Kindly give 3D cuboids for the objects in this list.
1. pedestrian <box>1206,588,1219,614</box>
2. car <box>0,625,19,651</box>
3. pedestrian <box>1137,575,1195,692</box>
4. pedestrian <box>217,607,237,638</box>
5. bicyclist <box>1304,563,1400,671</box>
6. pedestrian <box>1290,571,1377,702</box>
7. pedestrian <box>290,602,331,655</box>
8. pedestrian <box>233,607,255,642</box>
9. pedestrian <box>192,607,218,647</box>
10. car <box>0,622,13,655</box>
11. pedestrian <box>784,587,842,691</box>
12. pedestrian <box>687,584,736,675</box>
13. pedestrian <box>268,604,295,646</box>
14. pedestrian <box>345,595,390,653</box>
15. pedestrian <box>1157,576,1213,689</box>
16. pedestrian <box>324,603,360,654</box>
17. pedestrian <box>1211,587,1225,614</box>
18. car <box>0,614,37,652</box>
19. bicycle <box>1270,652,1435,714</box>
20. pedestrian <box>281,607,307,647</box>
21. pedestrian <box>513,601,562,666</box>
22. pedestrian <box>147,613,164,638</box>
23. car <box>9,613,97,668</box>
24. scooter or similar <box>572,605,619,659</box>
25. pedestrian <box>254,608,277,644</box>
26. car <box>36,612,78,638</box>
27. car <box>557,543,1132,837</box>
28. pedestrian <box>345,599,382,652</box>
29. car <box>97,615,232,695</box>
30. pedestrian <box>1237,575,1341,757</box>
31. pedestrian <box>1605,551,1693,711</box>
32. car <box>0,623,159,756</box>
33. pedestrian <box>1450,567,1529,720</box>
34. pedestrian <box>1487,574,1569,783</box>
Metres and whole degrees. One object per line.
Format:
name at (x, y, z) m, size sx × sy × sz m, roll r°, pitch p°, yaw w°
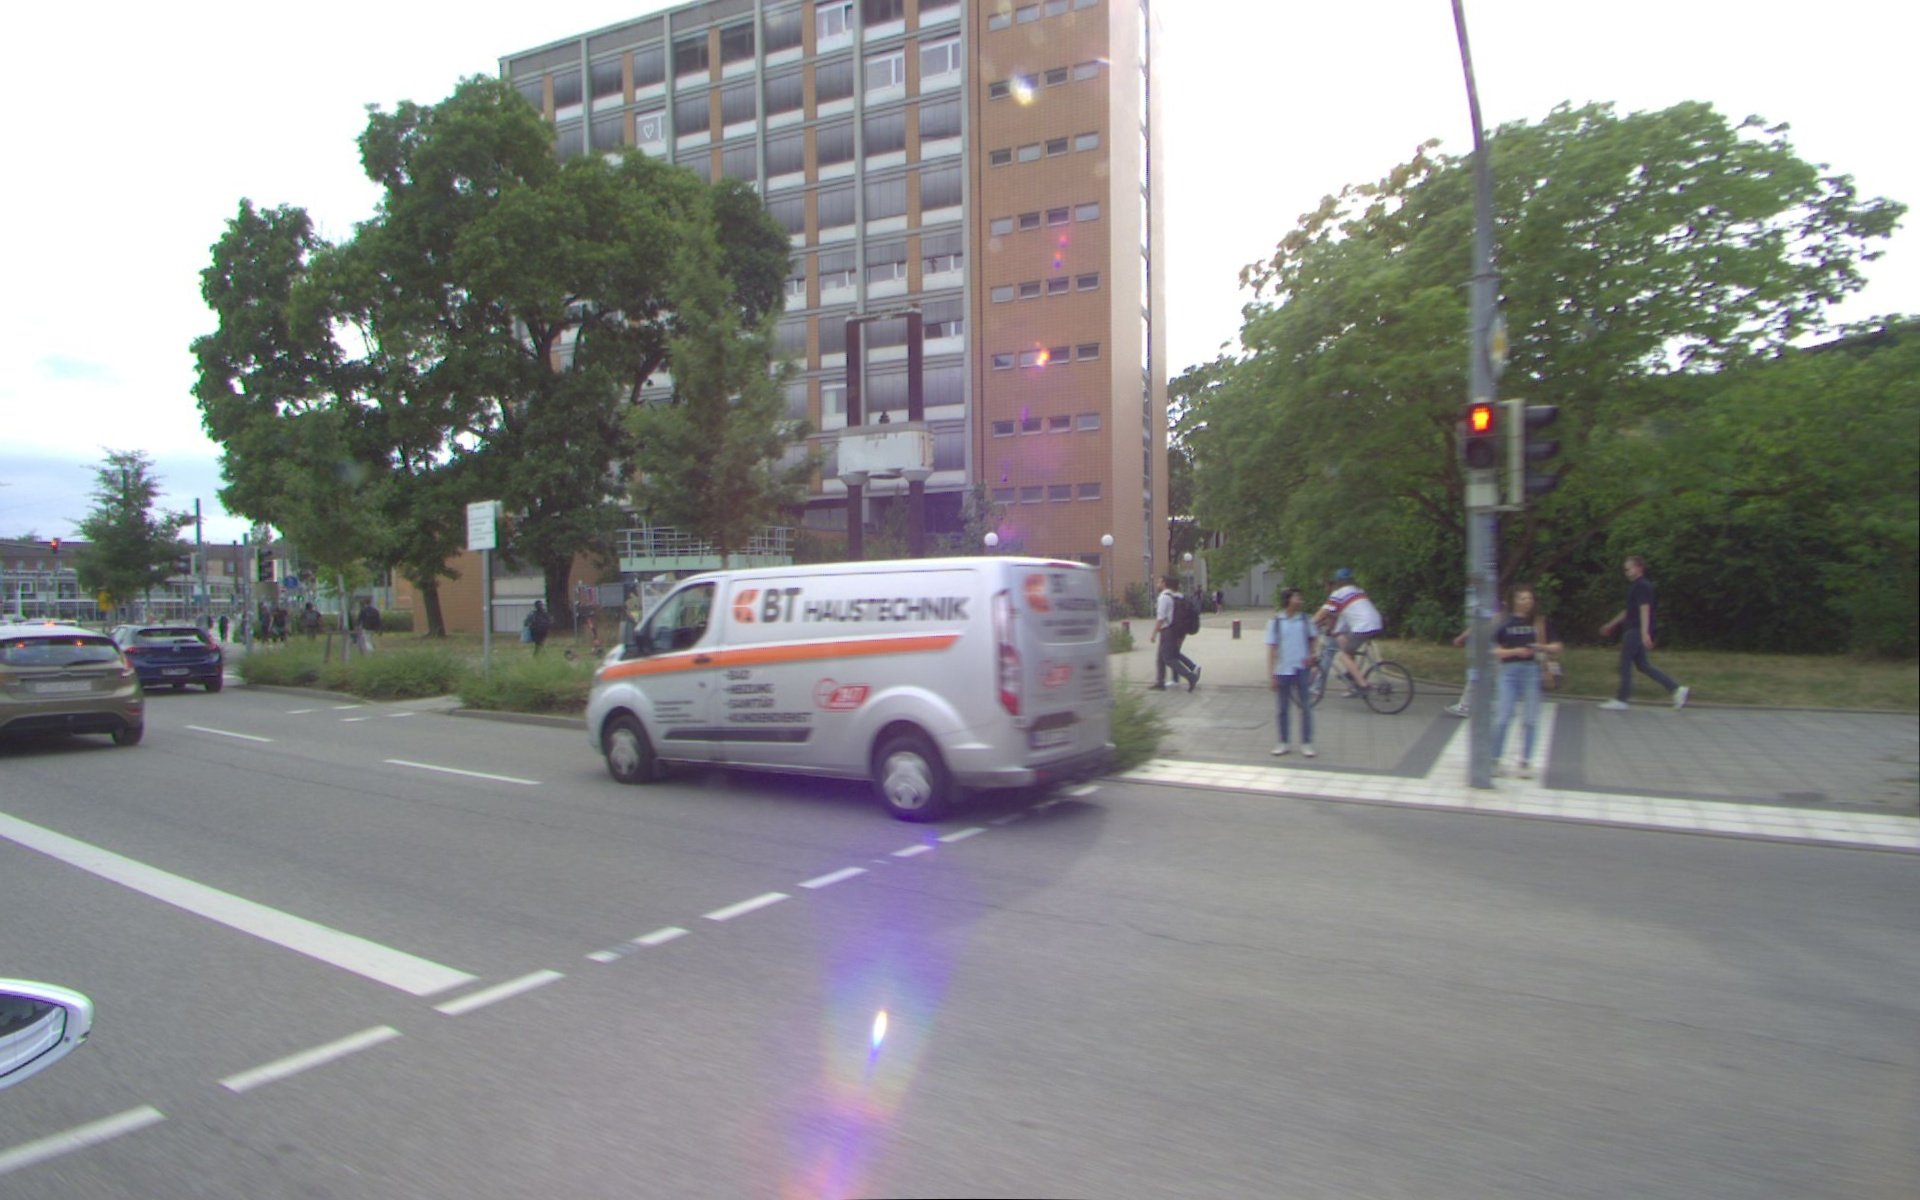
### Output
pedestrian at (16.644, 0.079, 66.072) m, size 0.631 × 1.733 × 0.703 m, roll -1°, pitch 0°, yaw 36°
car at (-54.141, 2.136, 56.323) m, size 1.699 × 1.438 × 3.964 m, roll 1°, pitch -2°, yaw -42°
pedestrian at (3.138, 0.511, 15.263) m, size 0.698 × 1.733 × 0.637 m, roll -1°, pitch -1°, yaw 31°
pedestrian at (-38.117, 1.176, 52.102) m, size 0.770 × 1.595 × 0.806 m, roll -3°, pitch 2°, yaw -36°
bicyclist at (4.922, 0.225, 12.556) m, size 0.998 × 1.293 × 0.836 m, roll -1°, pitch -1°, yaw 31°
pedestrian at (5.180, 0.506, 13.890) m, size 0.998 × 1.733 × 0.836 m, roll -1°, pitch -1°, yaw 31°
pedestrian at (-21.637, 0.967, 33.344) m, size 1.013 × 1.733 × 0.777 m, roll -1°, pitch -1°, yaw 31°
pedestrian at (-33.376, 1.135, 46.661) m, size 0.770 × 1.595 × 0.806 m, roll -3°, pitch 2°, yaw -36°
pedestrian at (-31.071, 1.091, 41.227) m, size 0.770 × 1.595 × 0.806 m, roll -3°, pitch 2°, yaw -36°
car at (-43.947, 1.733, 45.134) m, size 1.699 × 1.438 × 3.964 m, roll 1°, pitch -2°, yaw -42°
pedestrian at (-2.527, 0.657, 17.241) m, size 0.698 × 1.734 × 0.637 m, roll -1°, pitch 1°, yaw 31°
pedestrian at (-5.191, 0.605, 20.936) m, size 0.698 × 1.877 × 0.637 m, roll -1°, pitch 1°, yaw 31°
pedestrian at (-26.632, 0.975, 39.309) m, size 0.770 × 1.595 × 0.806 m, roll -3°, pitch 2°, yaw -36°
pedestrian at (-17.926, 0.737, 30.316) m, size 1.013 × 1.733 × 0.777 m, roll -1°, pitch -1°, yaw 31°
pedestrian at (3.557, 0.515, 15.833) m, size 0.698 × 1.733 × 0.637 m, roll -1°, pitch -1°, yaw 31°
pedestrian at (-21.336, 0.972, 34.582) m, size 0.800 × 1.733 × 0.777 m, roll -1°, pitch -1°, yaw 31°
pedestrian at (16.708, 0.051, 64.870) m, size 0.631 × 1.733 × 0.703 m, roll -1°, pitch 0°, yaw 36°
car at (-37.200, 1.275, 38.752) m, size 2.118 × 1.438 × 3.667 m, roll 1°, pitch -2°, yaw -42°
bicycle at (4.916, 1.012, 12.570) m, size 1.818 × 0.702 × 0.840 m, roll -1°, pitch -2°, yaw 31°
pedestrian at (-27.232, 1.100, 40.931) m, size 0.770 × 1.595 × 0.806 m, roll -3°, pitch 2°, yaw -36°
pedestrian at (-10.656, 0.831, 25.280) m, size 0.800 × 1.595 × 0.776 m, roll -1°, pitch 2°, yaw 31°
pedestrian at (-52.323, 1.629, 65.129) m, size 0.770 × 1.595 × 0.806 m, roll -3°, pitch 2°, yaw -36°
car at (-27.282, 1.211, 30.136) m, size 1.845 × 1.552 × 3.965 m, roll 1°, pitch -2°, yaw -43°
scooter or similar at (-9.387, 0.828, 25.784) m, size 1.127 × 1.388 × 0.398 m, roll -1°, pitch -1°, yaw 18°
pedestrian at (-31.638, 1.175, 45.593) m, size 0.770 × 1.595 × 0.806 m, roll -3°, pitch 2°, yaw -36°
car at (-51.162, 1.448, 56.743) m, size 1.692 × 1.438 × 3.667 m, roll 1°, pitch -2°, yaw -42°
car at (-1.206, 0.685, 8.935) m, size 5.131 × 1.984 × 1.816 m, roll -1°, pitch -2°, yaw 33°
pedestrian at (-19.866, 0.850, 33.358) m, size 0.800 × 1.733 × 0.777 m, roll -1°, pitch -1°, yaw 31°
car at (-16.720, 1.125, 20.997) m, size 3.594 × 1.527 × 1.658 m, roll -2°, pitch -2°, yaw 42°
pedestrian at (3.330, 0.651, 10.119) m, size 0.828 × 1.733 × 0.796 m, roll -1°, pitch -1°, yaw 33°
pedestrian at (8.265, 0.376, 12.048) m, size 0.788 × 1.831 × 0.836 m, roll -1°, pitch -1°, yaw 31°
car at (-11.496, 1.008, 12.163) m, size 3.648 × 1.422 × 1.692 m, roll -1°, pitch -2°, yaw 33°
pedestrian at (6.280, 0.510, 11.869) m, size 0.788 × 1.733 × 0.836 m, roll -1°, pitch -1°, yaw 31°
pedestrian at (4.914, 0.659, 8.663) m, size 0.579 × 1.733 × 0.478 m, roll -1°, pitch -1°, yaw 33°
